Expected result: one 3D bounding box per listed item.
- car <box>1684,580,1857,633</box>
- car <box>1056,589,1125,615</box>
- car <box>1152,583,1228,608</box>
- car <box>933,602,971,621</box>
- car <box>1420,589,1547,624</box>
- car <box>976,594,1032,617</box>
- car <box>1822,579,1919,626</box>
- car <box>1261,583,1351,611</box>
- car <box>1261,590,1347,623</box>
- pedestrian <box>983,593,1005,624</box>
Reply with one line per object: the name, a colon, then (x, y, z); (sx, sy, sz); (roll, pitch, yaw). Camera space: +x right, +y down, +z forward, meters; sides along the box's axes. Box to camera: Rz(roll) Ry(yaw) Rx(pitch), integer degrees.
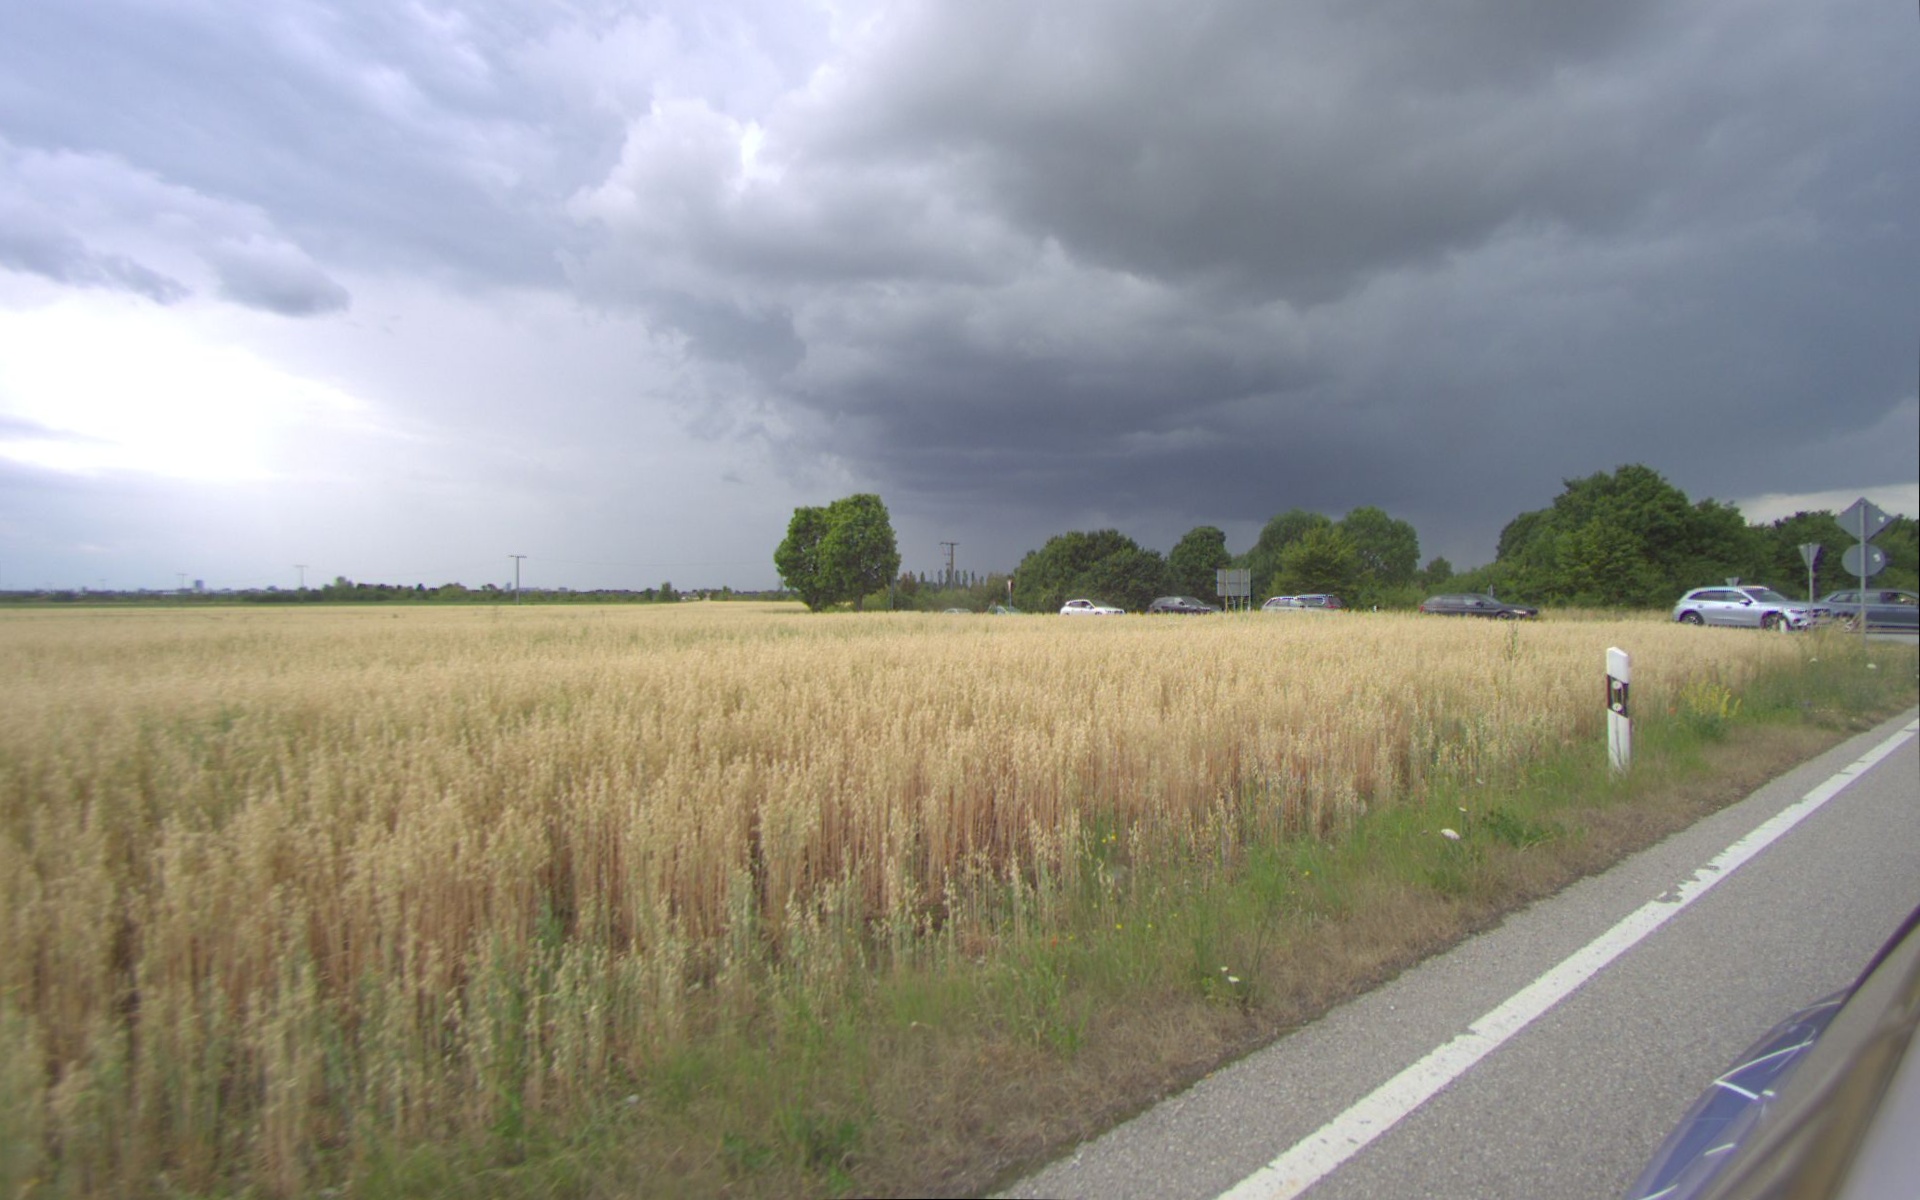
car: (27.264, 0.161, 34.261); (1.957, 1.606, 4.402); (-2, 2, -8)
car: (8.327, 0.111, 64.806); (1.690, 1.513, 4.638); (-3, 2, -35)
car: (13.218, -0.274, 58.426); (1.690, 1.370, 4.213); (-3, 2, -35)
car: (-0.633, 0.879, 79.303); (1.542, 1.363, 3.504); (0, 1, -28)
car: (22.787, 0.263, 44.239); (1.689, 1.370, 4.697); (-3, 2, -33)
car: (3.105, 0.377, 72.018); (1.690, 1.513, 4.213); (-3, 2, -35)
car: (31.121, 0.063, 33.310); (4.104, 1.465, 1.692); (0, 1, 44)
car: (17.838, -0.163, 52.321); (1.689, 1.370, 4.213); (0, 0, -35)
car: (19.193, 0.331, 56.643); (1.723, 1.679, 4.285); (0, 2, -40)
pedestrian: (1.800, 0.431, 53.497); (0.939, 1.631, 0.763); (0, 0, 37)
